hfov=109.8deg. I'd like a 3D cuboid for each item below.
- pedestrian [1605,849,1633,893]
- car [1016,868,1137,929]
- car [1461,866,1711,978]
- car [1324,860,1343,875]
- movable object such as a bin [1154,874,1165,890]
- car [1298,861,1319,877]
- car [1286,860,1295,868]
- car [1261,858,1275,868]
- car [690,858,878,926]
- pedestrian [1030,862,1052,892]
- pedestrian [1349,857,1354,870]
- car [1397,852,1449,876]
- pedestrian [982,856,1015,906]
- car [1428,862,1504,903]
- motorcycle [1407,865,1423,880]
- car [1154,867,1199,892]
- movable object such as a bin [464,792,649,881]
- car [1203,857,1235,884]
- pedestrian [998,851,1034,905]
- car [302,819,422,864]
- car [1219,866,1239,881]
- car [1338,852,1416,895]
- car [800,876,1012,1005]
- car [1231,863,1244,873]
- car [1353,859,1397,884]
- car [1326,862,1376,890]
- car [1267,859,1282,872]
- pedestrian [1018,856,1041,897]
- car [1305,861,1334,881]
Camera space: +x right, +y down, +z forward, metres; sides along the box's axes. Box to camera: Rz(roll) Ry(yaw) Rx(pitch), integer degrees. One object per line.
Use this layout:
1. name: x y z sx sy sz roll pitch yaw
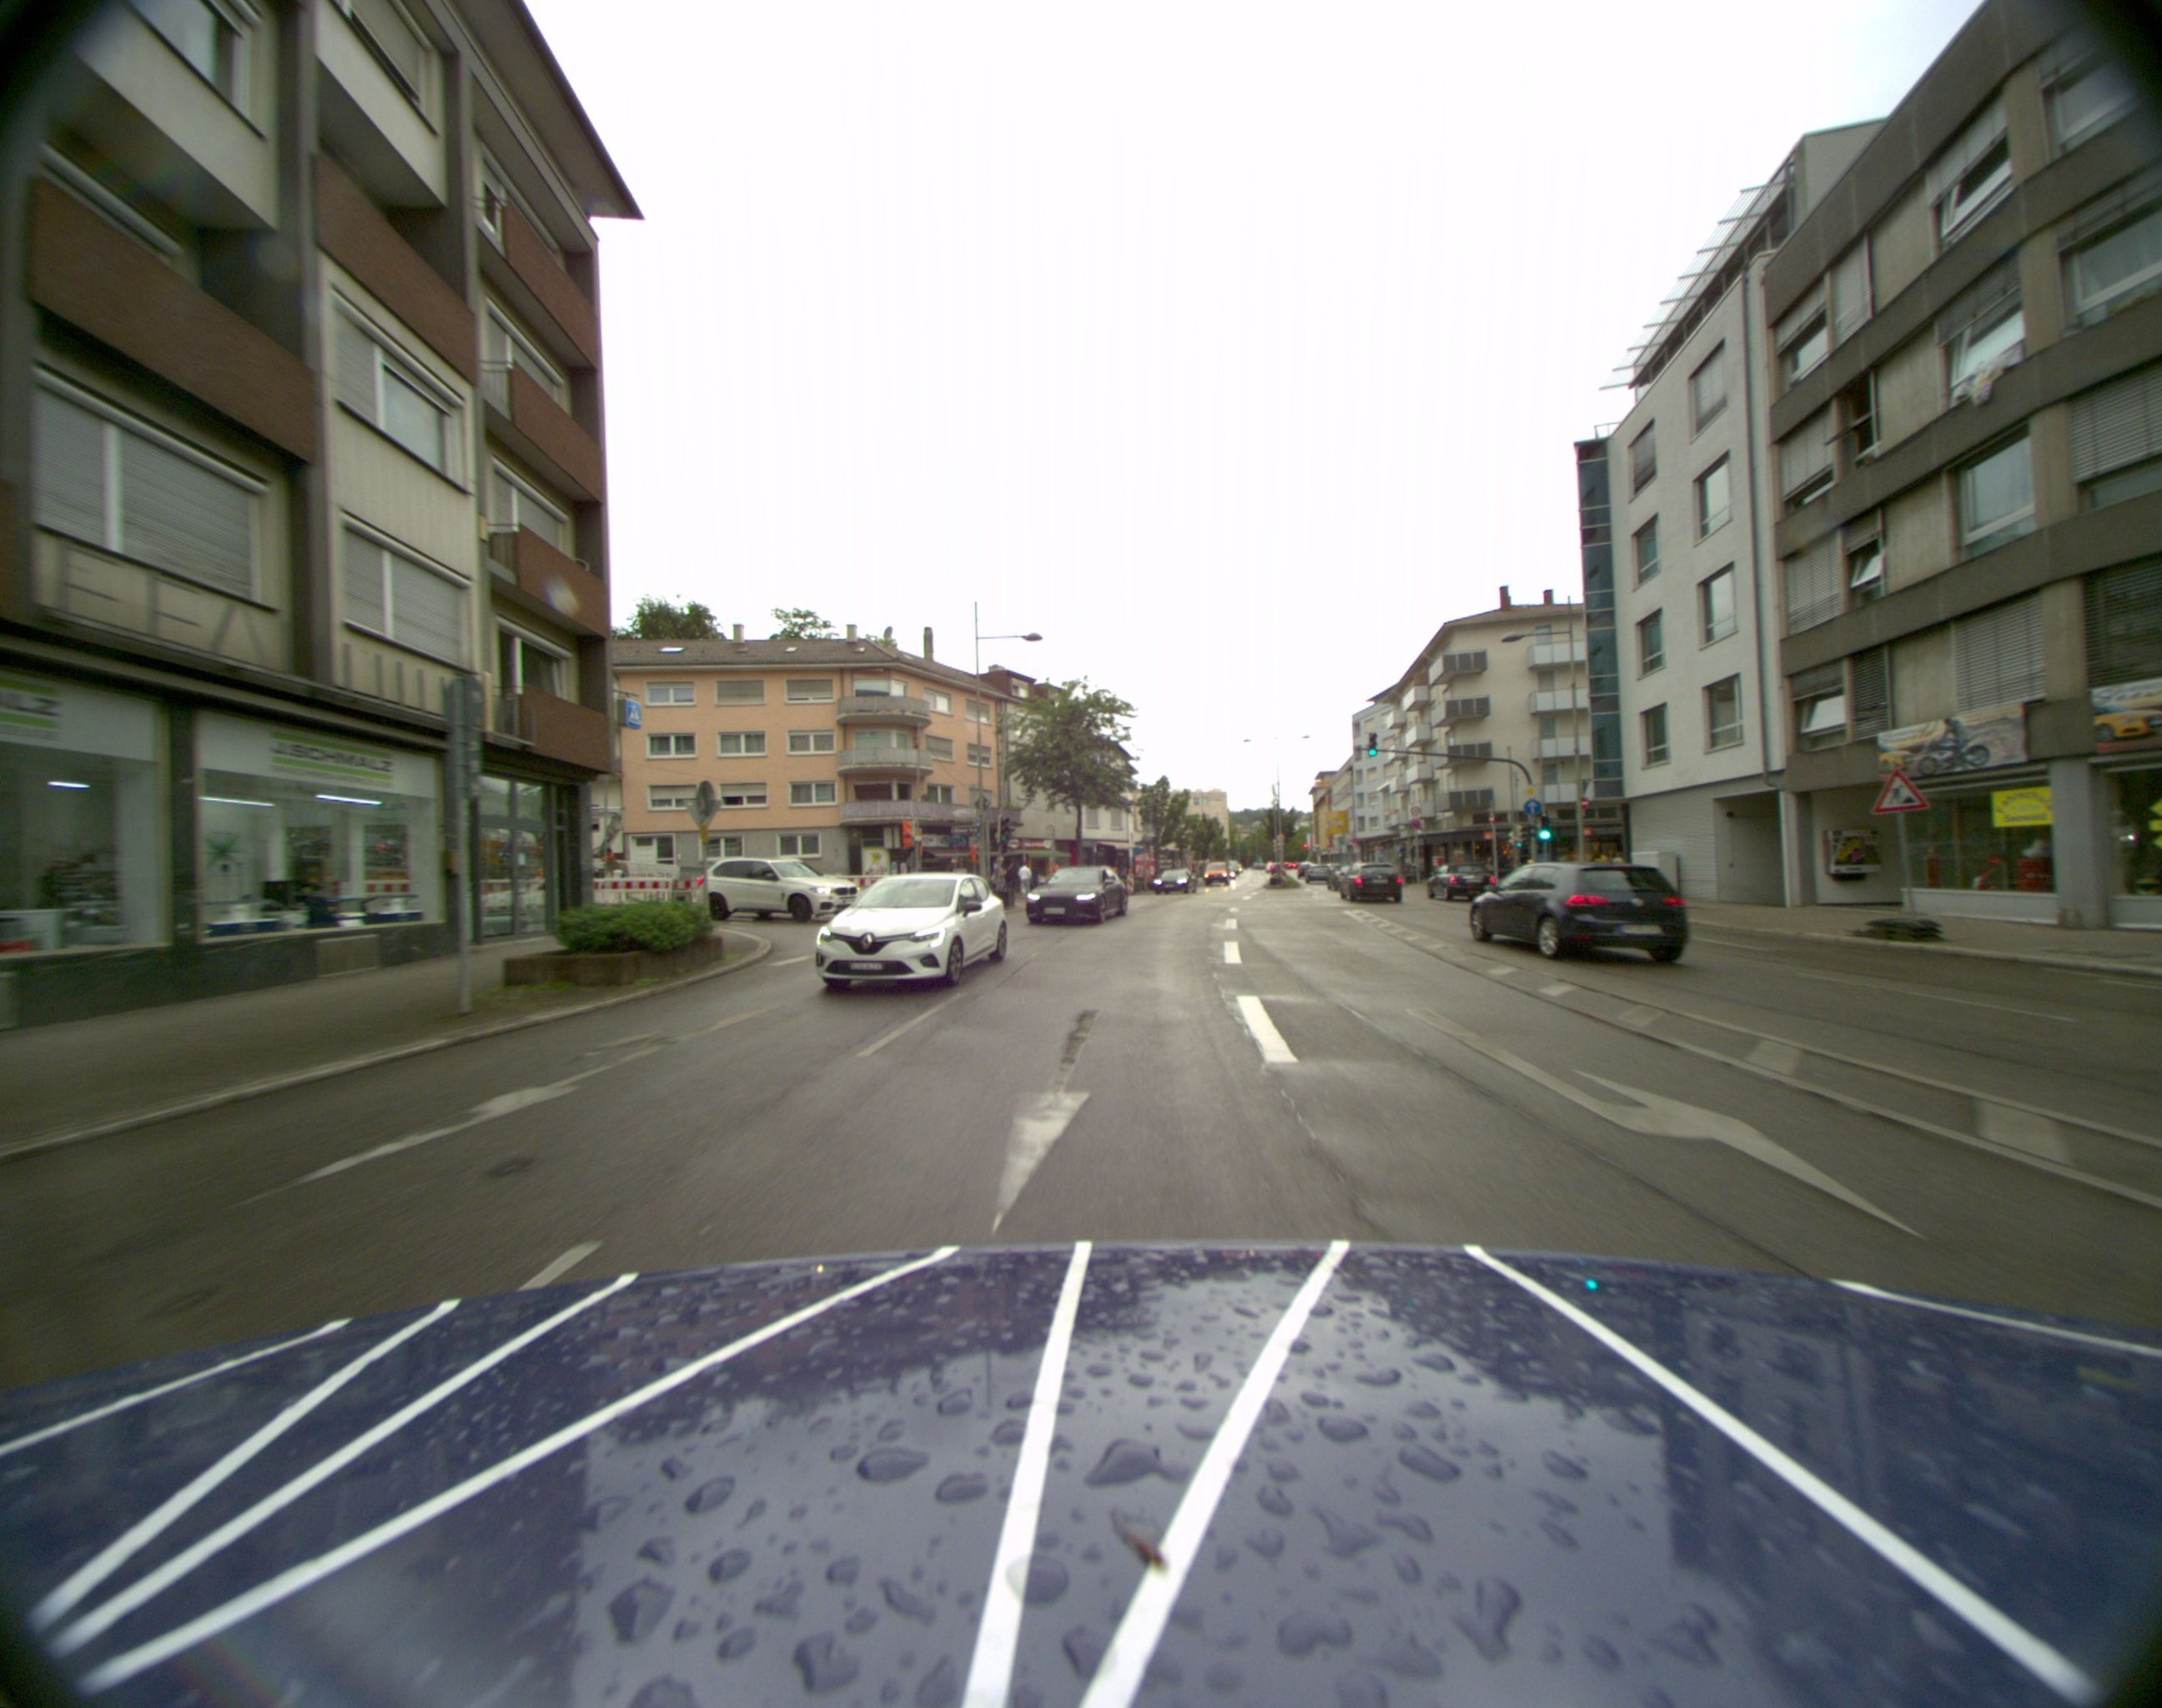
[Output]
1. pedestrian: 19.777 0.635 27.938 0.834 1.598 0.624 0 -1 -39
2. car: 0.064 1.129 21.261 2.037 1.379 5.300 1 0 15
3. car: 7.791 0.941 12.234 1.687 1.464 4.002 1 -1 6
4. car: 26.898 1.461 80.976 1.774 1.514 4.289 -1 -1 16
5. movable object such as a bin: 5.293 1.887 51.348 0.578 1.104 0.666 0 -1 20
6. car: 22.655 1.461 75.794 1.832 1.534 4.289 -1 -1 14
7. car: 41.156 1.983 149.345 1.700 1.432 3.845 0 -1 13
8. car: 29.255 1.408 118.953 1.848 1.409 4.620 1 -1 11
9. car: -8.332 0.983 21.333 4.786 1.710 2.003 0 0 21
10. pedestrian: -2.455 1.399 46.481 0.967 1.782 0.908 2 2 45
11. pedestrian: 34.773 1.237 97.558 0.512 1.678 0.531 0 2 14
12. car: 30.938 0.876 68.913 3.992 2.042 1.897 -2 -1 15
13. pedestrian: -2.827 0.905 26.047 0.822 1.678 0.792 -2 2 -33
14. car: 14.254 1.017 28.318 1.724 1.391 3.598 0 0 13
15. motorcycle: 26.205 1.422 59.655 0.669 1.081 2.198 -4 -1 13
16. car: 5.450 1.464 43.089 1.809 1.331 4.285 -1 -2 17
17. movable object such as a bin: -24.905 -0.749 36.377 6.536 3.615 2.741 4 -2 -7
18. car: 12.007 1.390 65.939 2.196 2.073 5.940 -2 0 15
19. pedestrian: -2.337 0.837 27.244 0.921 1.850 1.029 -1 2 -27
20. car: -34.136 -0.566 36.164 3.717 1.714 1.763 5 -2 -5
21. car: 16.516 2.183 84.712 1.841 1.433 4.004 -4 -1 14
22. car: 10.982 0.687 28.508 1.986 1.450 4.490 0 0 12
23. car: -2.224 1.056 10.815 1.680 1.395 4.002 0 0 7
24. car: 27.493 2.507 133.365 1.997 1.598 4.004 -4 -1 14
25. car: 18.626 1.080 48.318 1.931 1.465 4.608 1 0 12
26. car: 14.251 1.125 40.350 1.827 1.358 4.607 0 0 11
27. car: 25.485 1.482 99.832 1.849 1.584 4.096 -1 -1 15
28. pedestrian: -2.424 1.051 35.562 0.659 1.868 0.991 -1 -1 -27
29. car: 18.137 1.243 57.856 1.855 1.465 4.654 -1 -1 15
